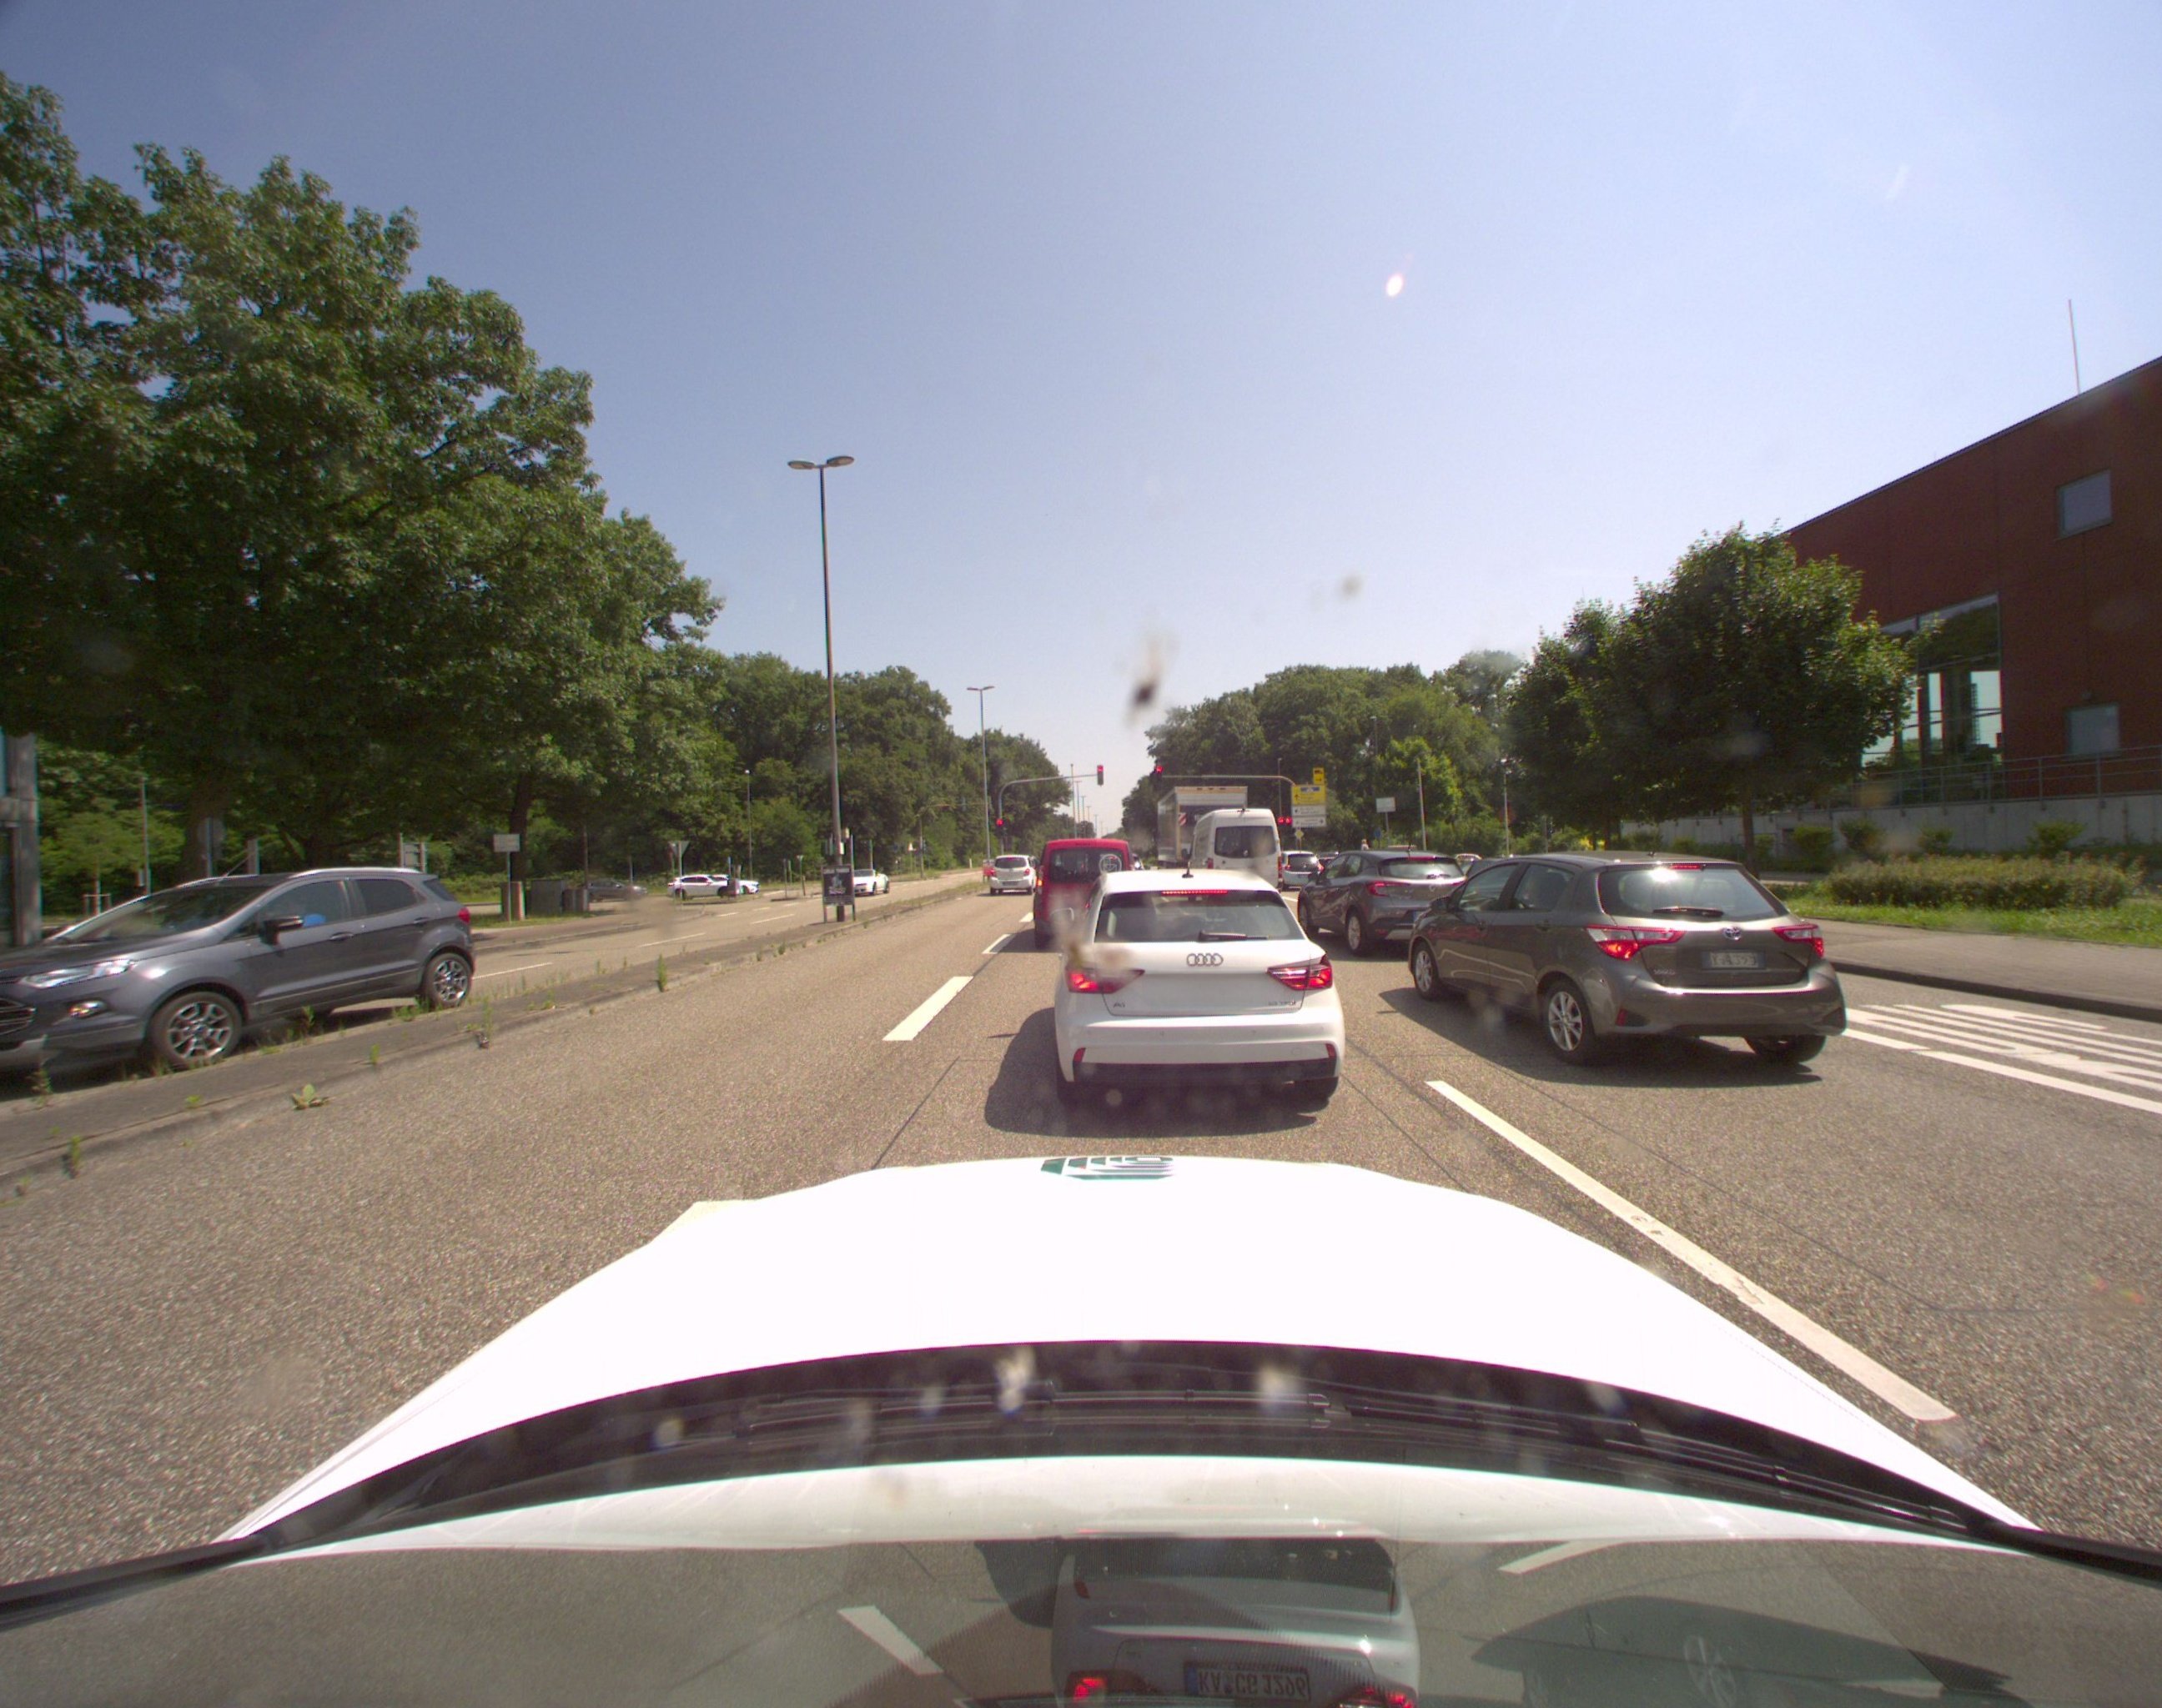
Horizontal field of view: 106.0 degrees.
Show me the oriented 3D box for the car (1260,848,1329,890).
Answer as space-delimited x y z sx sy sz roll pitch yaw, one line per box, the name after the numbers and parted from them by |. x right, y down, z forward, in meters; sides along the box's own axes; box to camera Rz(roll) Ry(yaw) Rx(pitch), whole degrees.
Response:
8.466 0.574 32.634 1.706 1.546 4.091 -1 0 0 | car

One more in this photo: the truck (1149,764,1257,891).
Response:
4.778 -0.949 34.439 3.077 4.434 11.584 -1 0 2 | truck

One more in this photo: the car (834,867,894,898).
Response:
-10.866 1.387 40.988 1.712 1.262 4.302 -4 0 1 | car

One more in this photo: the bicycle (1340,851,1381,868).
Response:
13.975 0.290 40.771 0.604 0.766 1.804 -2 0 -45 | bicycle

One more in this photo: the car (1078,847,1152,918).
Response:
0.804 0.674 21.245 1.706 1.631 4.091 -1 0 0 | car

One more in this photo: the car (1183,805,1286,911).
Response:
4.187 0.101 23.037 2.024 2.644 4.846 -1 0 1 | car

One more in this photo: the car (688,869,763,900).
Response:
-24.946 2.125 57.261 4.367 1.681 1.806 -6 0 -7 | car

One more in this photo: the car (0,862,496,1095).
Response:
-7.945 0.960 7.848 1.681 1.600 3.884 -5 0 0 | car

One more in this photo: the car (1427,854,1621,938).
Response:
8.275 0.708 15.676 1.631 1.371 4.147 0 0 2 | car

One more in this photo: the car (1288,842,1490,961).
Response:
4.737 0.647 13.185 1.706 1.593 4.091 -1 0 0 | car

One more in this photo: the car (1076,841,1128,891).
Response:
0.700 0.408 29.089 1.706 1.631 4.091 -1 0 0 | car

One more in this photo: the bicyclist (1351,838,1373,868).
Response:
14.025 -0.052 40.688 0.819 1.439 0.603 -3 0 45 | bicyclist

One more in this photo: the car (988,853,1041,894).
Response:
-2.577 0.733 32.338 1.706 1.492 4.091 -1 0 0 | car

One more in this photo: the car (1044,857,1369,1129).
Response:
0.673 0.746 6.378 1.706 1.386 4.091 -1 0 0 | car

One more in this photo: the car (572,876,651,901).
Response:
-32.570 2.373 56.624 4.370 1.681 1.804 0 -1 -10 | car

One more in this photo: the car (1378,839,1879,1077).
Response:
4.243 0.661 7.240 1.706 1.478 4.091 1 0 0 | car

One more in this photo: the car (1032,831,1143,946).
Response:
0.108 0.535 14.729 1.706 1.748 4.091 -1 0 0 | car

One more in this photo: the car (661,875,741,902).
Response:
-24.858 2.221 53.437 4.366 1.681 1.806 0 -1 -7 | car

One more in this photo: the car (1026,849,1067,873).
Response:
-3.065 0.653 72.411 2.006 2.013 3.962 -2 0 -30 | car
